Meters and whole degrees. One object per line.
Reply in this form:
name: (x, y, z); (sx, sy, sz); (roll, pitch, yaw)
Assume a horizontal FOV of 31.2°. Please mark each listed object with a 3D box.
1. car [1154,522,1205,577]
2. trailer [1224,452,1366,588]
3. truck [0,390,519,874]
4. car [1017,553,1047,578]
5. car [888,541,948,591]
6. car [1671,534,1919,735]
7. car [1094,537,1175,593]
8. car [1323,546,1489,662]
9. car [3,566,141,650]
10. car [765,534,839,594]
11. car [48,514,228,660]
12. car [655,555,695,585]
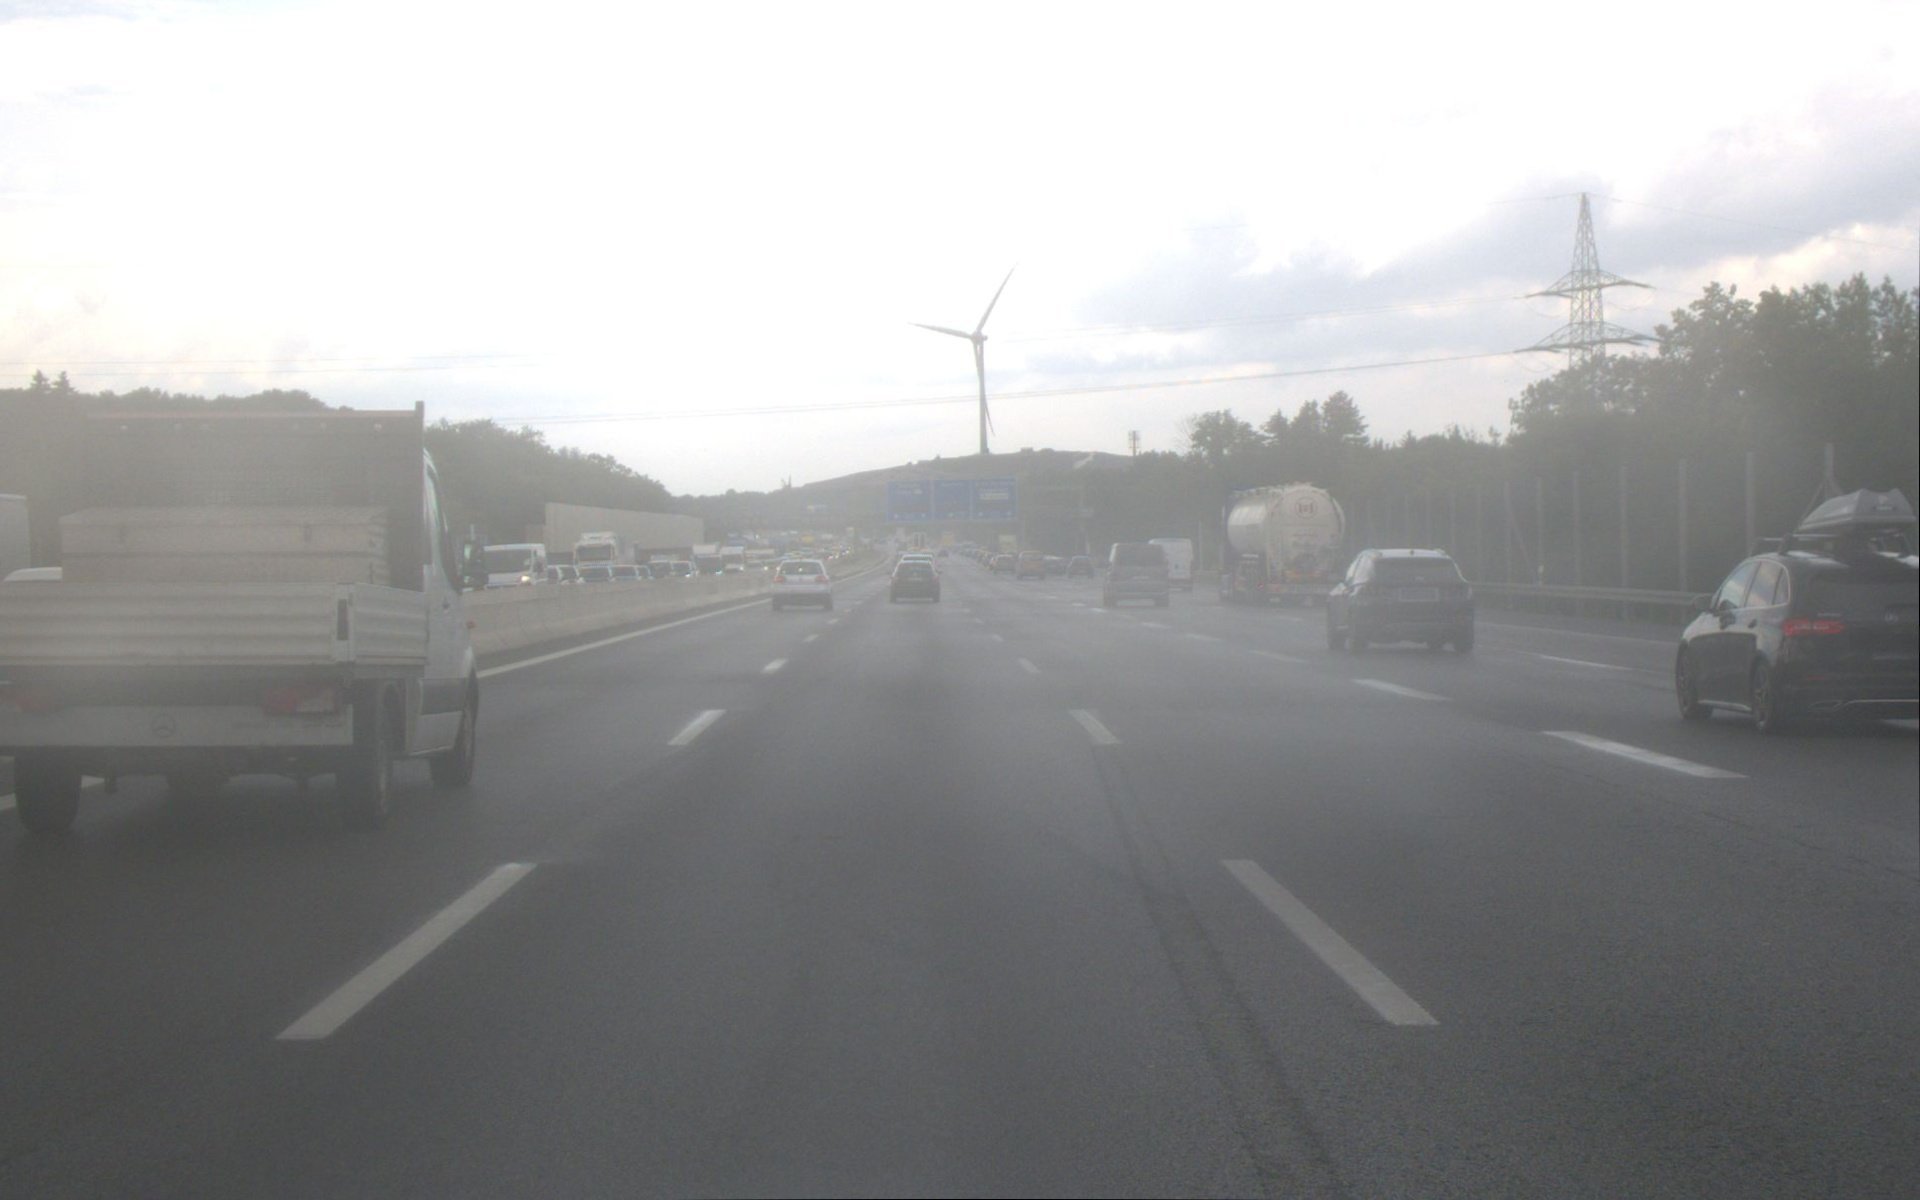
car: (10.254, -2.380, 160.845); (2.045, 2.489, 4.000); (0, 1, -1)
trailer: (10.738, -2.587, 111.486); (3.332, 4.161, 11.839); (0, 1, 0)
truck: (-4.183, 0.074, 20.775); (2.353, 2.400, 7.359); (0, 1, -2)
car: (5.066, -2.470, 243.217); (2.045, 1.693, 4.000); (0, 1, 0)
car: (-1.447, -1.225, 120.967); (2.045, 1.693, 4.000); (0, 1, 0)
car: (7.648, 0.254, 29.907); (2.105, 1.600, 5.065); (0, 0, 3)
car: (5.452, -1.121, 107.883); (2.097, 1.693, 4.001); (0, 1, -4)
car: (6.988, 0.021, 54.354); (2.045, 1.693, 5.007); (0, 1, 1)
car: (-18.652, 0.142, 72.369); (1.712, 1.661, 4.796); (0, 1, -1)
car: (-4.626, -1.078, 101.446); (2.045, 1.693, 4.000); (0, 1, -1)
car: (-19.345, -0.386, 81.363); (2.497, 3.289, 7.627); (0, 1, -1)
car: (-16.123, -1.715, 194.860); (1.894, 1.618, 4.845); (0, 1, -1)
